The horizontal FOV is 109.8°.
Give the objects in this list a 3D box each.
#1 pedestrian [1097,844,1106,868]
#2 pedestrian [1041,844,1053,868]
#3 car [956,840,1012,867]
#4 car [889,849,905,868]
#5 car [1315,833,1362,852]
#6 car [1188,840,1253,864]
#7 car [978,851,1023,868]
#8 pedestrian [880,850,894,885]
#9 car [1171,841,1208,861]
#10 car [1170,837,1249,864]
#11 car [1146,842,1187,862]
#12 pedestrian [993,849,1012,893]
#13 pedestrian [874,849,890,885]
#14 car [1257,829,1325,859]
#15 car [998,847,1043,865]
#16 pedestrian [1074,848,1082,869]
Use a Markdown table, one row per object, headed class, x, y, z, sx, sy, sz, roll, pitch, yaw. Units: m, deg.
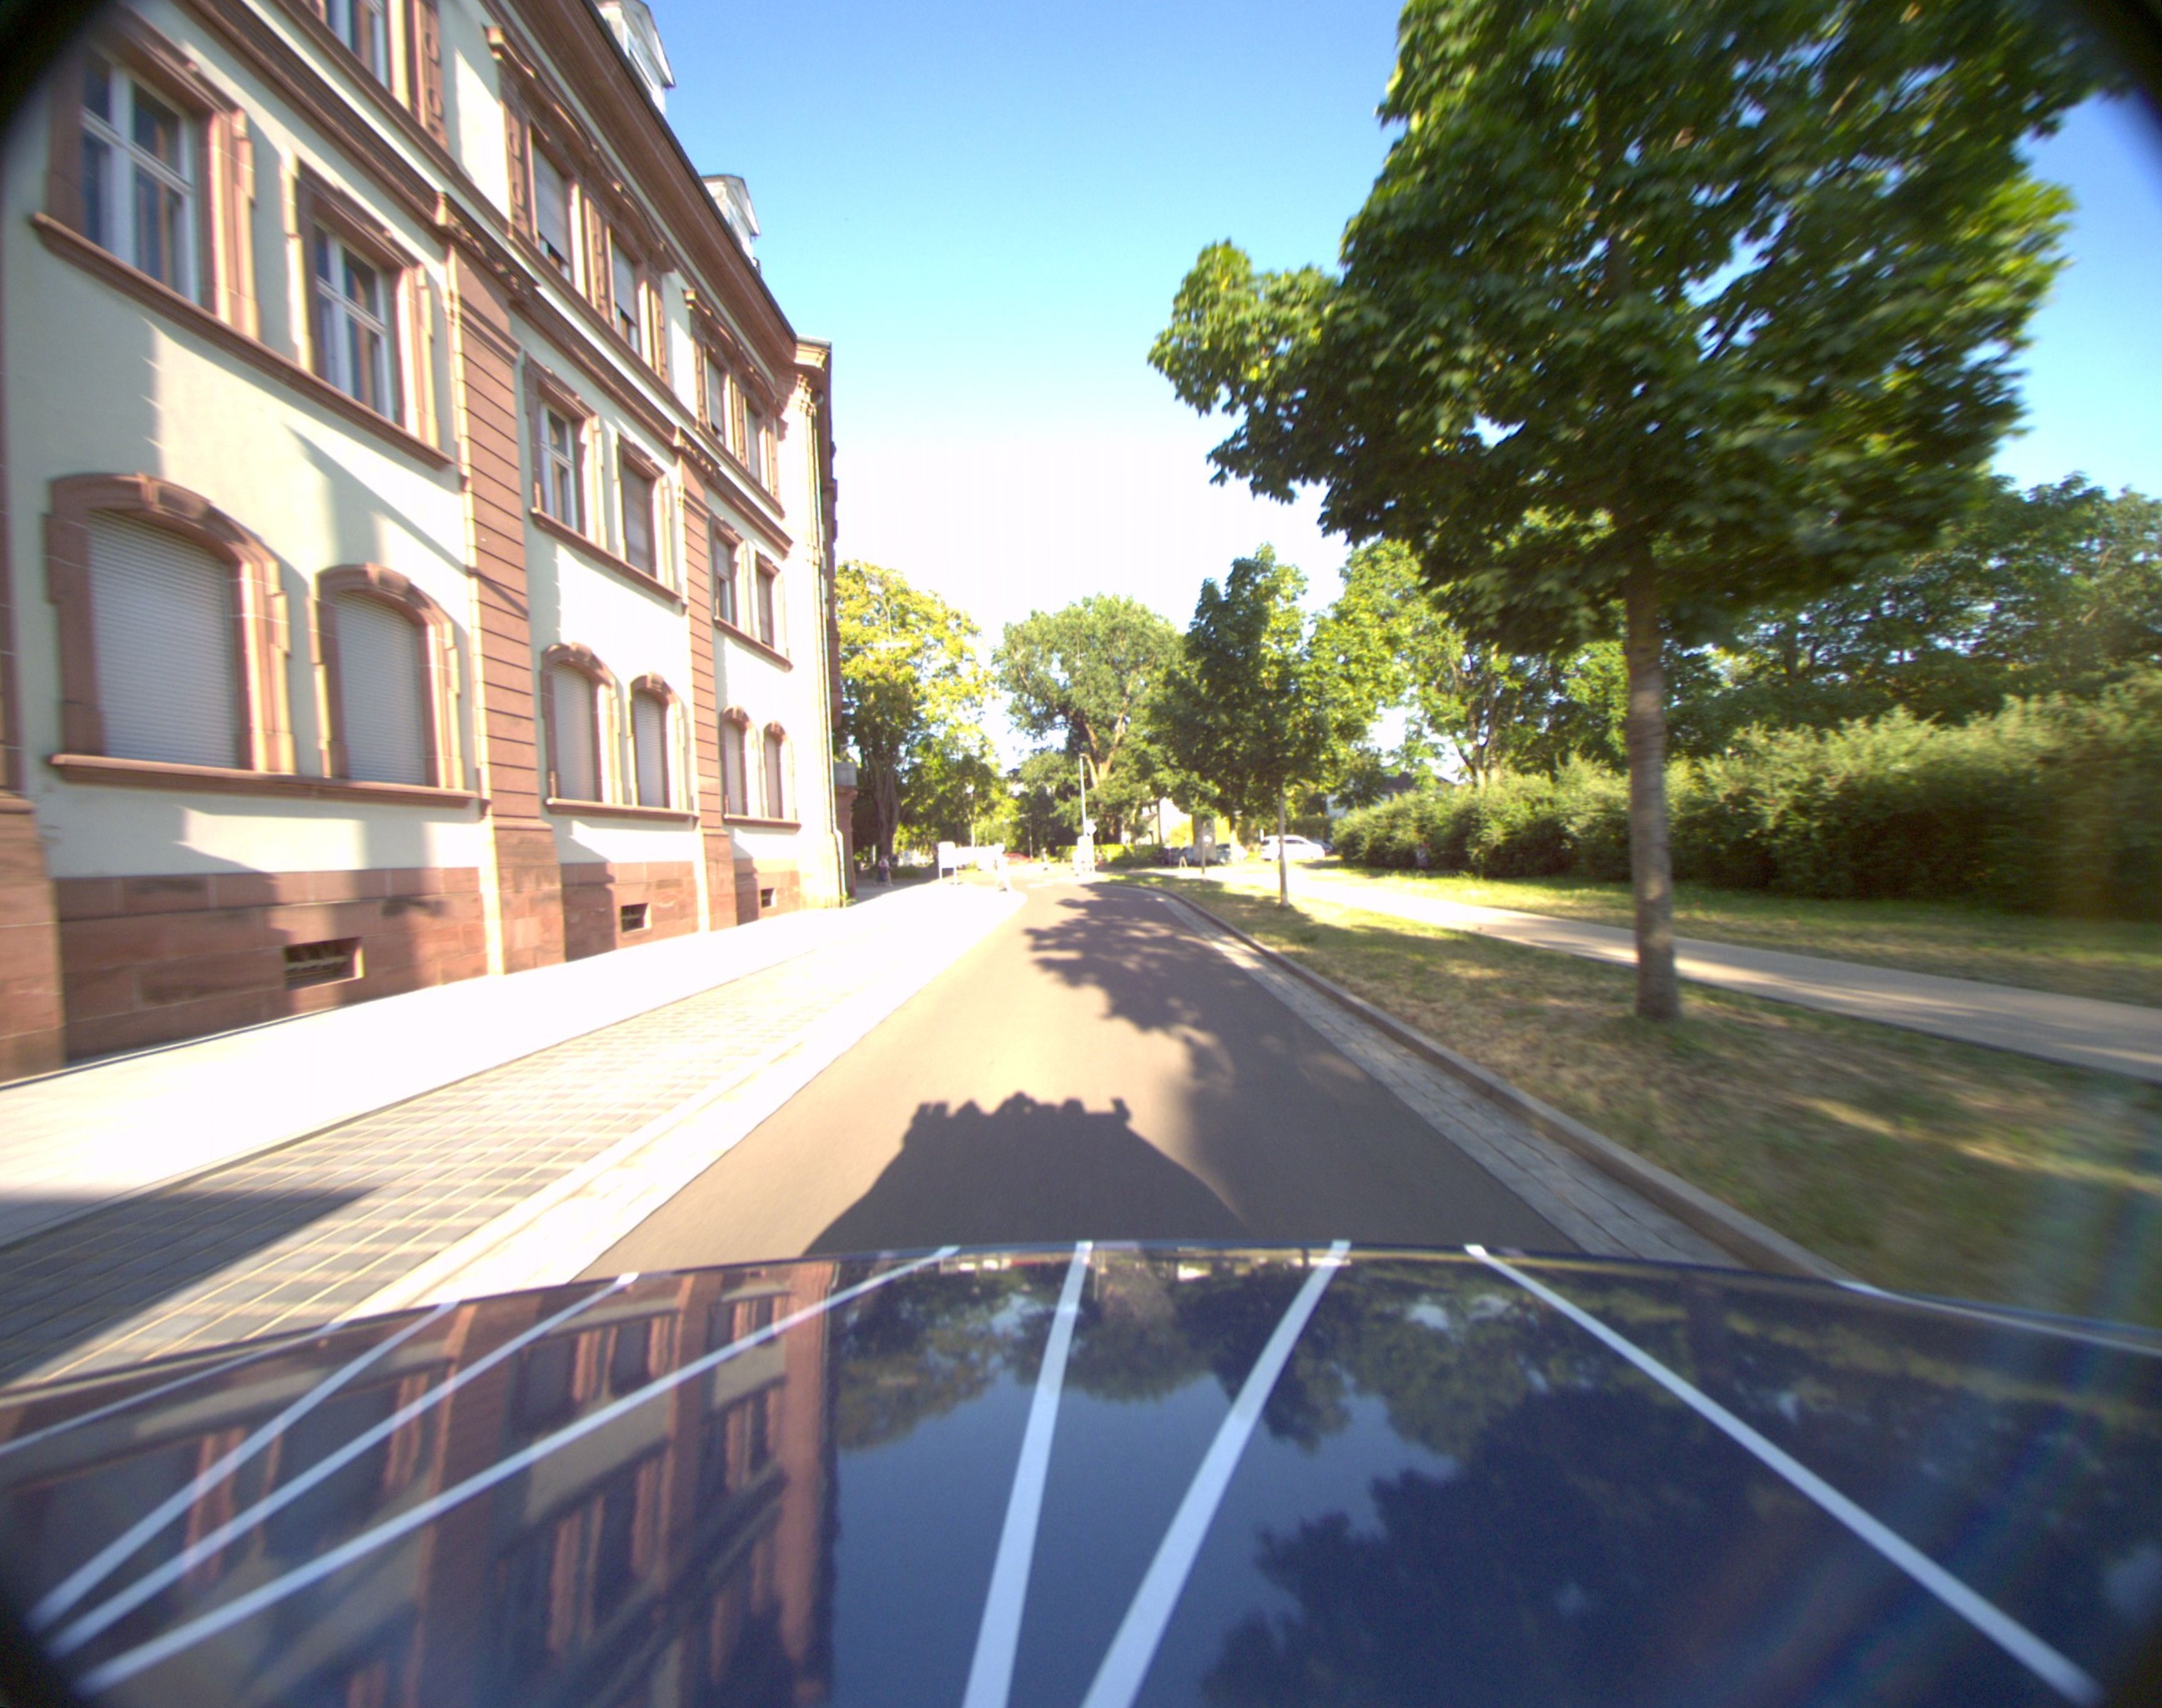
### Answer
| class | x | y | z | sx | sy | sz | roll | pitch | yaw |
| --- | --- | --- | --- | --- | --- | --- | --- | --- | --- |
| pedestrian | 1.568 | 0.167 | 57.894 | 0.436 | 1.765 | 0.665 | -4 | 1 | -12 |
| pedestrian | -2.760 | 0.159 | 61.172 | 0.615 | 1.908 | 0.720 | -5 | 5 | -40 |
| car | -11.111 | -0.086 | 86.778 | 5.914 | 2.685 | 2.217 | -4 | 1 | -19 |
| car | -26.671 | 0.597 | 110.127 | 1.953 | 2.584 | 4.161 | -4 | 1 | -13 |
| car | 22.104 | -1.003 | 65.253 | 1.746 | 1.529 | 3.916 | -4 | 2 | -19 |
| car | 10.511 | -0.145 | 57.336 | 4.348 | 1.526 | 1.781 | -3 | 0 | -15 |
| car | -7.969 | 0.510 | 75.250 | 4.062 | 1.412 | 1.715 | -4 | 1 | -19 |
| pedestrian | -10.416 | 0.715 | 40.778 | 0.613 | 1.829 | 0.725 | -3 | -1 | -15 |
| car | 8.883 | -0.263 | 62.444 | 1.639 | 1.483 | 3.350 | -4 | 2 | -19 |
| car | 8.677 | -0.252 | 51.314 | 4.841 | 1.549 | 1.865 | -3 | 1 | -17 |
| car | 6.785 | -0.191 | 60.651 | 1.646 | 1.508 | 3.993 | -4 | 2 | -19 |
| pedestrian | -3.084 | 0.656 | 29.982 | 0.534 | 1.709 | 1.001 | -2 | 1 | -16 |
| pedestrian | -10.463 | 0.709 | 39.931 | 0.717 | 1.829 | 0.789 | -3 | 0 | -15 |
| car | 14.766 | -0.702 | 53.365 | 4.241 | 1.905 | 1.760 | -3 | 1 | -17 |
| car | -5.581 | 0.199 | 70.008 | 3.682 | 1.412 | 1.715 | -4 | 1 | -19 |
| pedestrian | -0.220 | 0.323 | 57.910 | 0.436 | 1.572 | 0.665 | -4 | 1 | -12 |
